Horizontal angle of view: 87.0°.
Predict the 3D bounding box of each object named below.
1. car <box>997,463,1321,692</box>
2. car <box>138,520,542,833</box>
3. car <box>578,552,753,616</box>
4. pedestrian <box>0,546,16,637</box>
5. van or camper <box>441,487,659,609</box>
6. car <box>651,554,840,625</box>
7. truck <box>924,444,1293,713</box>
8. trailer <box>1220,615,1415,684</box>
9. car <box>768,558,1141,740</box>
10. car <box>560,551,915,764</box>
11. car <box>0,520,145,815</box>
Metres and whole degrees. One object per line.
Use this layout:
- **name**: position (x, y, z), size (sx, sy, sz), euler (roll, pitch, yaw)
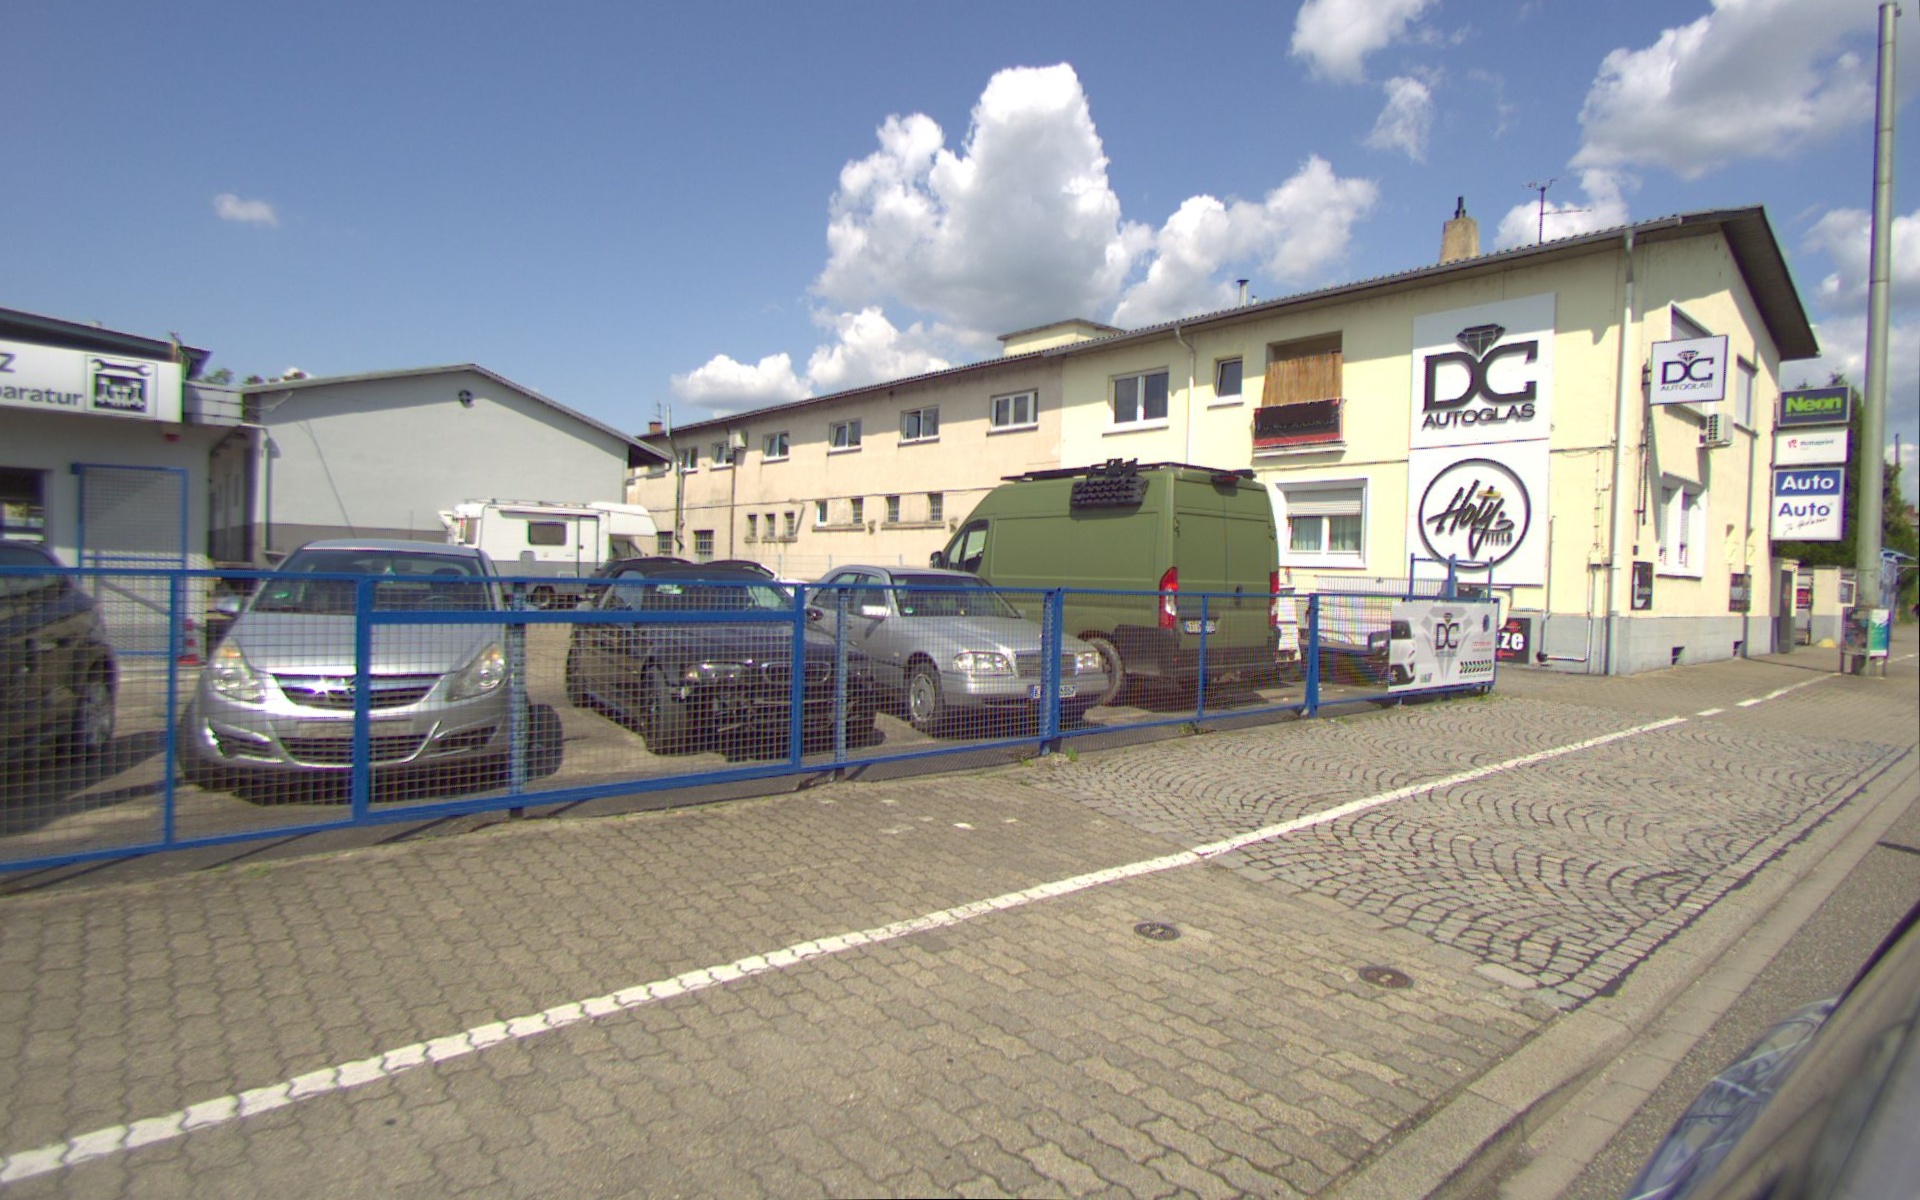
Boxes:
- **car**: position (2.612, -0.344, 14.144), size (1.771, 2.702, 4.208), euler (1, 2, -40)
- **car**: position (-3.950, 0.302, 7.102), size (1.766, 1.497, 4.158), euler (1, 2, -24)
- **car**: position (-7.480, -0.409, 25.890), size (3.939, 1.497, 1.719), euler (0, 2, -41)
- **pedestrian**: position (-13.258, -0.128, 13.840), size (0.479, 1.228, 0.501), euler (1, 1, -42)
- **van or camper**: position (-11.008, -1.323, 27.368), size (4.971, 2.999, 2.284), euler (0, 2, -42)
- **car**: position (-4.926, -0.245, 23.520), size (3.939, 1.497, 1.719), euler (0, 2, -41)
- **truck**: position (1.624, -0.284, 12.146), size (2.033, 2.639, 3.996), euler (1, 2, -40)
- **trailer**: position (5.082, 0.671, 14.530), size (1.245, 0.776, 2.330), euler (0, 2, -39)
- **car**: position (-0.295, 0.320, 10.206), size (1.768, 1.413, 4.216), euler (1, 2, -33)
- **car**: position (-2.124, 0.310, 8.747), size (1.768, 1.403, 3.837), euler (1, 2, -32)
- **car**: position (-5.746, 0.324, 5.034), size (1.685, 1.497, 4.012), euler (1, 2, -25)
